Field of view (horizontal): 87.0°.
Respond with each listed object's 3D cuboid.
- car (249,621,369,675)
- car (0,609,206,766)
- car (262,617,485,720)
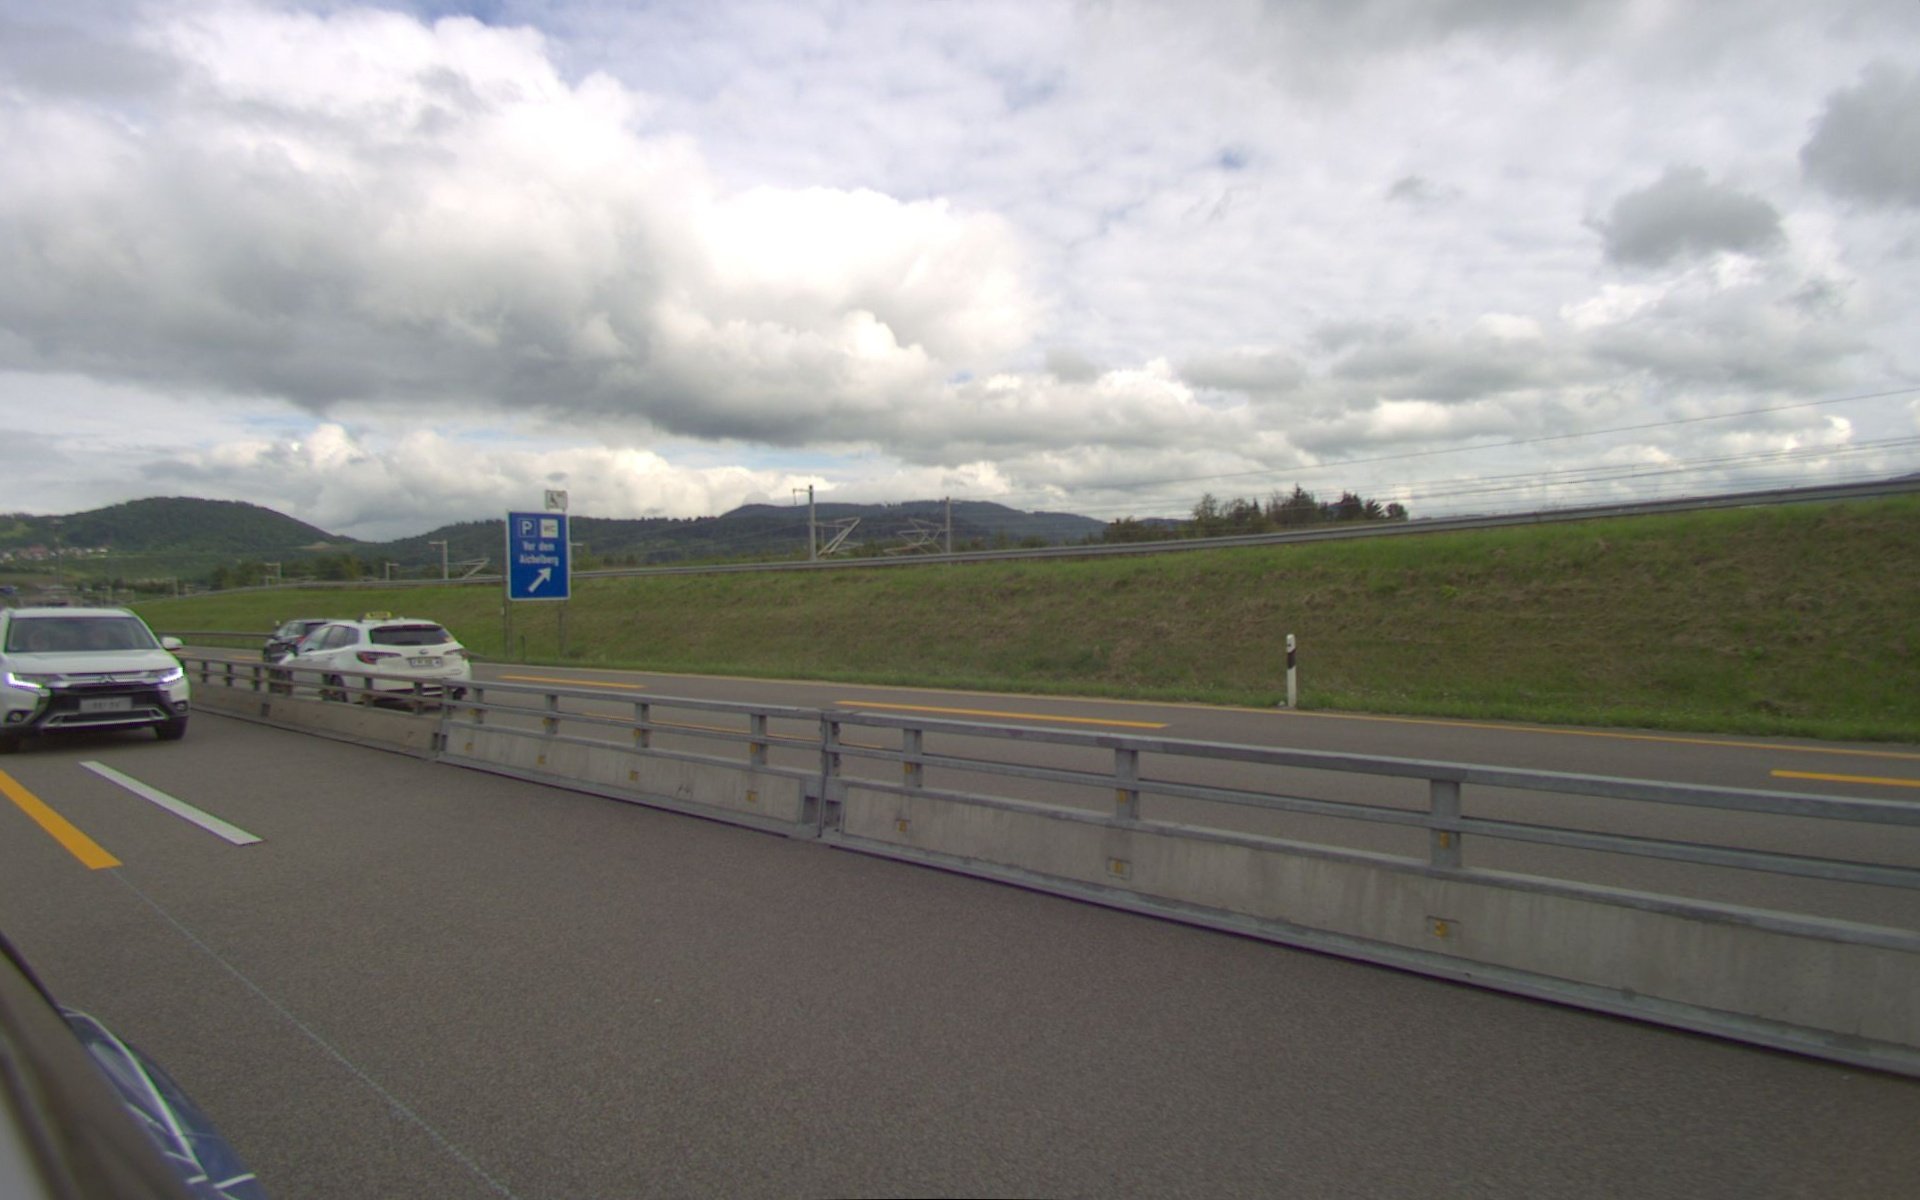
[{"bbox_3d":[-18.600,1.321,28.853,3.996,1.398,1.740,-2,-1,39],"label":"car"},{"bbox_3d":[-11.230,0.963,12.723,4.606,1.640,1.972,-1,-1,42],"label":"car"},{"bbox_3d":[-9.503,1.013,16.259,4.323,1.398,1.739,-2,0,40],"label":"car"}]
